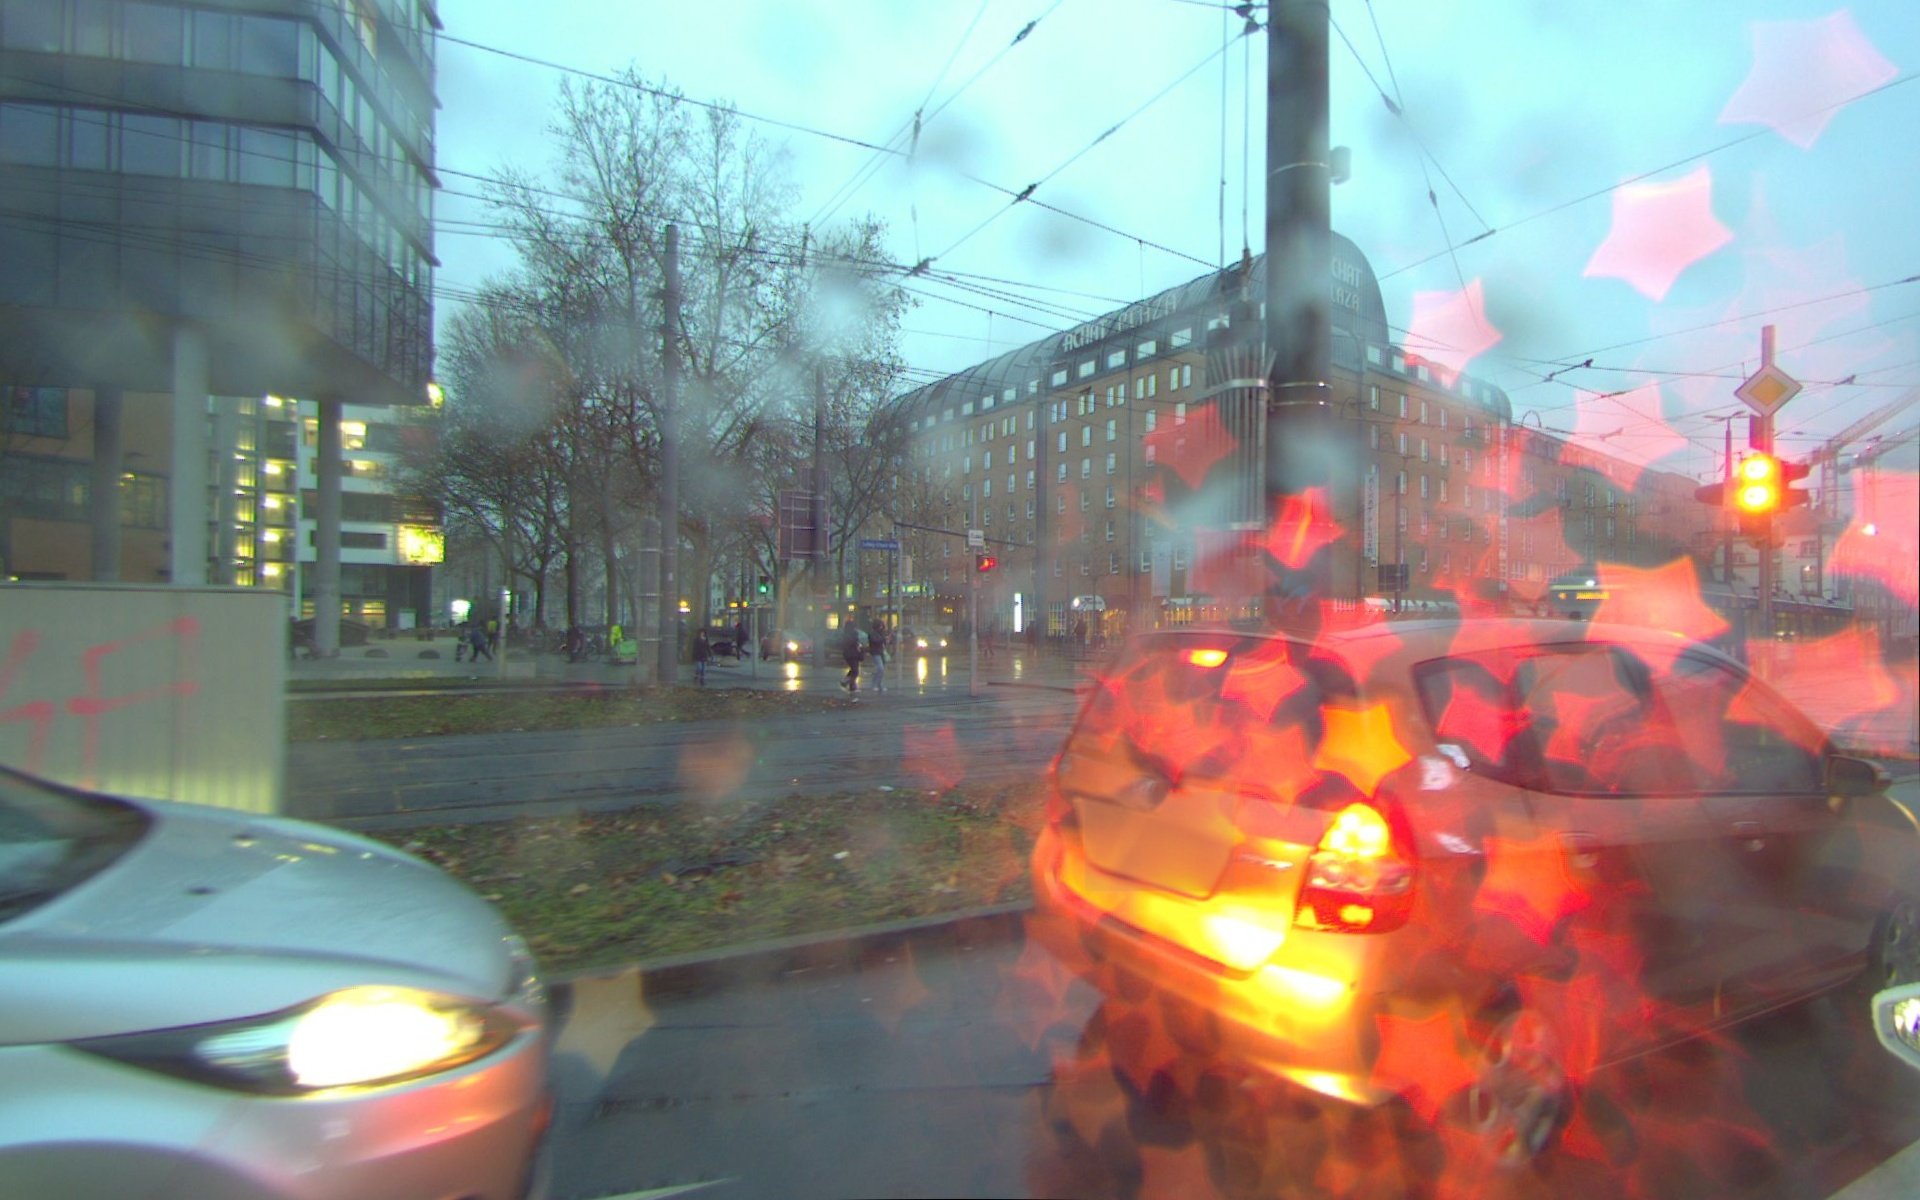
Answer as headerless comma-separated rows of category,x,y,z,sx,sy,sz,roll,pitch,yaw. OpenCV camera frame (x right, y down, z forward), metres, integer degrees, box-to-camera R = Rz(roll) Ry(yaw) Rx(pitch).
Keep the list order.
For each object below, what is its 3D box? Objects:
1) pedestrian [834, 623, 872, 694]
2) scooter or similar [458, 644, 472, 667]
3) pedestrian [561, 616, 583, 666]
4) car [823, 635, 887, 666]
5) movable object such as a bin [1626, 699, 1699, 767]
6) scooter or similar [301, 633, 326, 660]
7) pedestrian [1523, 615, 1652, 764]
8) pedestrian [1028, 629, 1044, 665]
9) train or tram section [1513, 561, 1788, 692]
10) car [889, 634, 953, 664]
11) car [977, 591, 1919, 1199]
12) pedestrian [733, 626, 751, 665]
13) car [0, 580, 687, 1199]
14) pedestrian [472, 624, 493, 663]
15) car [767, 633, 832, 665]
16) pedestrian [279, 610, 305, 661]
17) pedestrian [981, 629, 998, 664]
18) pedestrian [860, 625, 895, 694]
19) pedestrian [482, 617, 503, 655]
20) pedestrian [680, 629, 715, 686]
pedestrian,-2.359,1.278,22.178,0.639,1.532,0.557,1,-1,-34
scooter or similar,-18.814,2.124,38.207,0.426,0.861,0.550,1,-2,-24
pedestrian,-14.978,1.573,38.767,0.725,1.888,0.569,1,-2,-24
car,-5.345,2.541,50.875,1.974,1.446,3.974,1,-1,-26
movable object such as a bin,7.865,1.483,11.259,0.527,0.708,0.413,0,-3,11
scooter or similar,-23.015,1.648,35.762,0.657,0.973,0.550,1,-2,-24
pedestrian,7.084,1.001,11.391,1.016,1.621,0.716,-1,-3,12
pedestrian,3.878,2.398,51.307,0.622,1.781,0.566,0,-2,33
train or tram section,25.171,1.017,35.558,19.906,3.662,2.841,2,-2,-40
car,-2.103,2.561,53.210,1.974,1.446,3.974,1,-1,-26
car,2.083,0.779,3.820,3.713,1.478,1.690,1,-2,-30
pedestrian,-9.673,2.023,44.633,0.679,1.728,0.526,1,-2,-6
car,-2.588,0.691,1.475,3.950,1.467,1.698,1,-1,-28
pedestrian,-18.288,1.674,38.459,0.675,1.478,0.569,1,-2,-24
car,-7.740,2.311,48.227,1.974,1.446,3.974,1,-1,-26
pedestrian,-23.606,1.248,35.499,0.628,1.797,0.569,1,-2,-24
pedestrian,1.465,2.326,50.354,0.622,1.781,0.566,0,-2,33
pedestrian,-1.871,1.336,22.818,0.608,1.532,0.516,1,-1,-36
pedestrian,-22.279,1.700,47.893,0.727,1.783,0.812,2,-2,-36
pedestrian,-7.185,1.563,27.532,0.731,1.519,0.670,1,-1,-36
